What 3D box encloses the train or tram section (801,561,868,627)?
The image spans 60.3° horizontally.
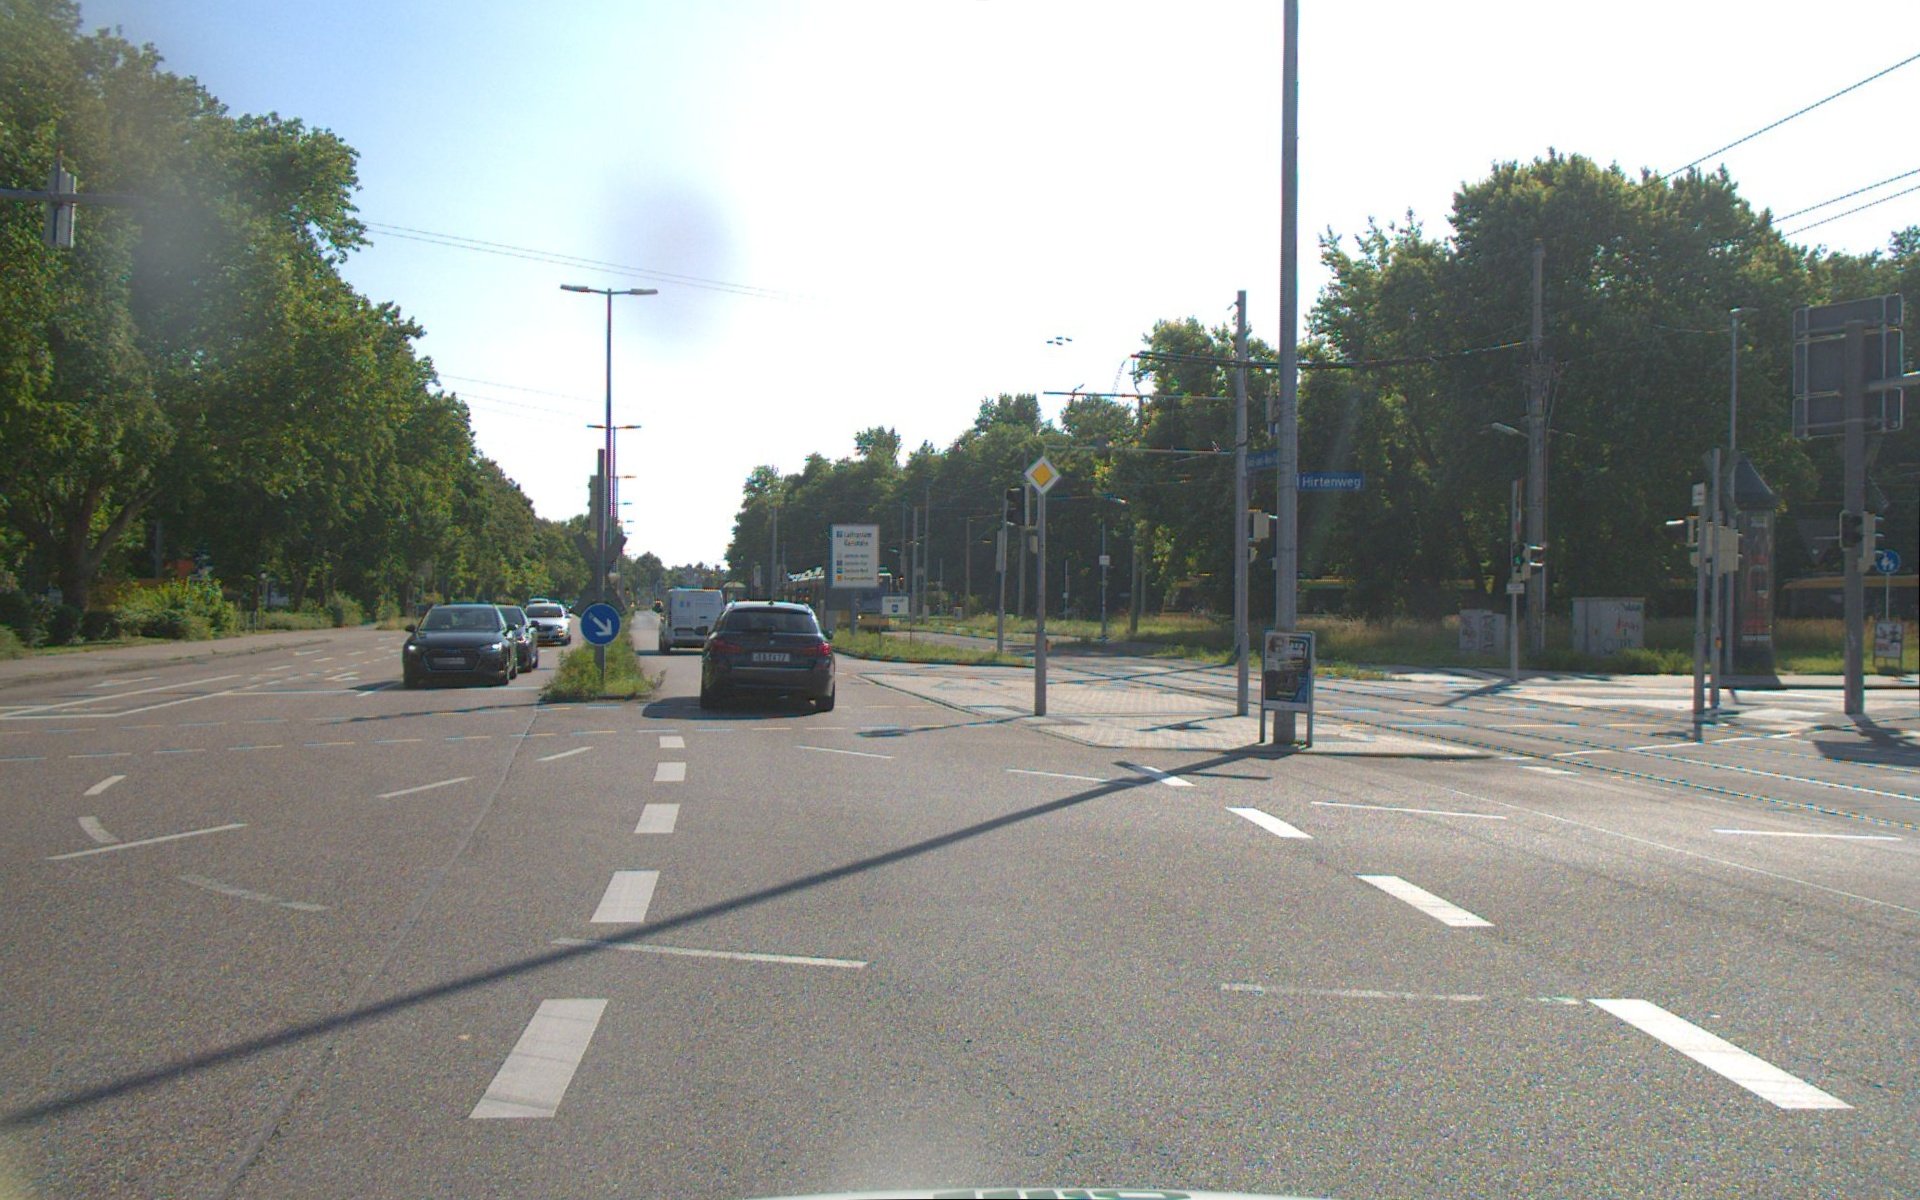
[{"bbox_3d":[-7.551,-0.250,98.345,2.701,3.616,11.226,1,-1,-11],"label":"train or tram section"}]

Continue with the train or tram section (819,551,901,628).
[{"bbox_3d":[-5.380,-0.412,86.483,2.745,3.682,12.922,1,-1,-10],"label":"train or tram section"}]

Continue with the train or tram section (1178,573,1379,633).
[{"bbox_3d":[20.066,0.183,104.344,12.139,3.642,3.055,0,0,18],"label":"train or tram section"}]

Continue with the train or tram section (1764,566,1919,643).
[{"bbox_3d":[45.544,0.236,82.508,2.990,3.642,12.194,0,0,-12],"label":"train or tram section"}]

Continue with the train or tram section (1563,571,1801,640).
[{"bbox_3d":[40.384,0.300,92.993,12.021,3.642,3.033,0,-1,44],"label":"train or tram section"}]

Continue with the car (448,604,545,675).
[{"bbox_3d":[-10.187,0.825,36.576,1.797,1.460,4.367,0,0,-12],"label":"car"}]

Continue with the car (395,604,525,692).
[{"bbox_3d":[-9.086,0.819,30.379,1.796,1.456,4.718,-1,0,-11],"label":"car"}]

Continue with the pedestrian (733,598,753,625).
[{"bbox_3d":[-13.387,0.704,101.885,0.978,1.663,0.721,0,0,22],"label":"pedestrian"}]

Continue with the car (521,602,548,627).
[{"bbox_3d":[-31.971,1.057,124.375,1.757,1.803,4.556,1,0,-12],"label":"car"}]

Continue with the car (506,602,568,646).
[{"bbox_3d":[-15.157,0.834,59.407,1.815,1.503,4.634,0,0,-10],"label":"car"}]

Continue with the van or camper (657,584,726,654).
[{"bbox_3d":[-8.631,0.580,52.903,1.958,2.133,4.585,1,0,-12],"label":"van or camper"}]

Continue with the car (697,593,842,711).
[{"bbox_3d":[-2.797,0.691,23.583,1.868,1.532,4.056,0,0,-9],"label":"car"}]

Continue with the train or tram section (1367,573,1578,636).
[{"bbox_3d":[30.990,0.261,100.159,11.943,3.642,3.053,0,0,23],"label":"train or tram section"}]
